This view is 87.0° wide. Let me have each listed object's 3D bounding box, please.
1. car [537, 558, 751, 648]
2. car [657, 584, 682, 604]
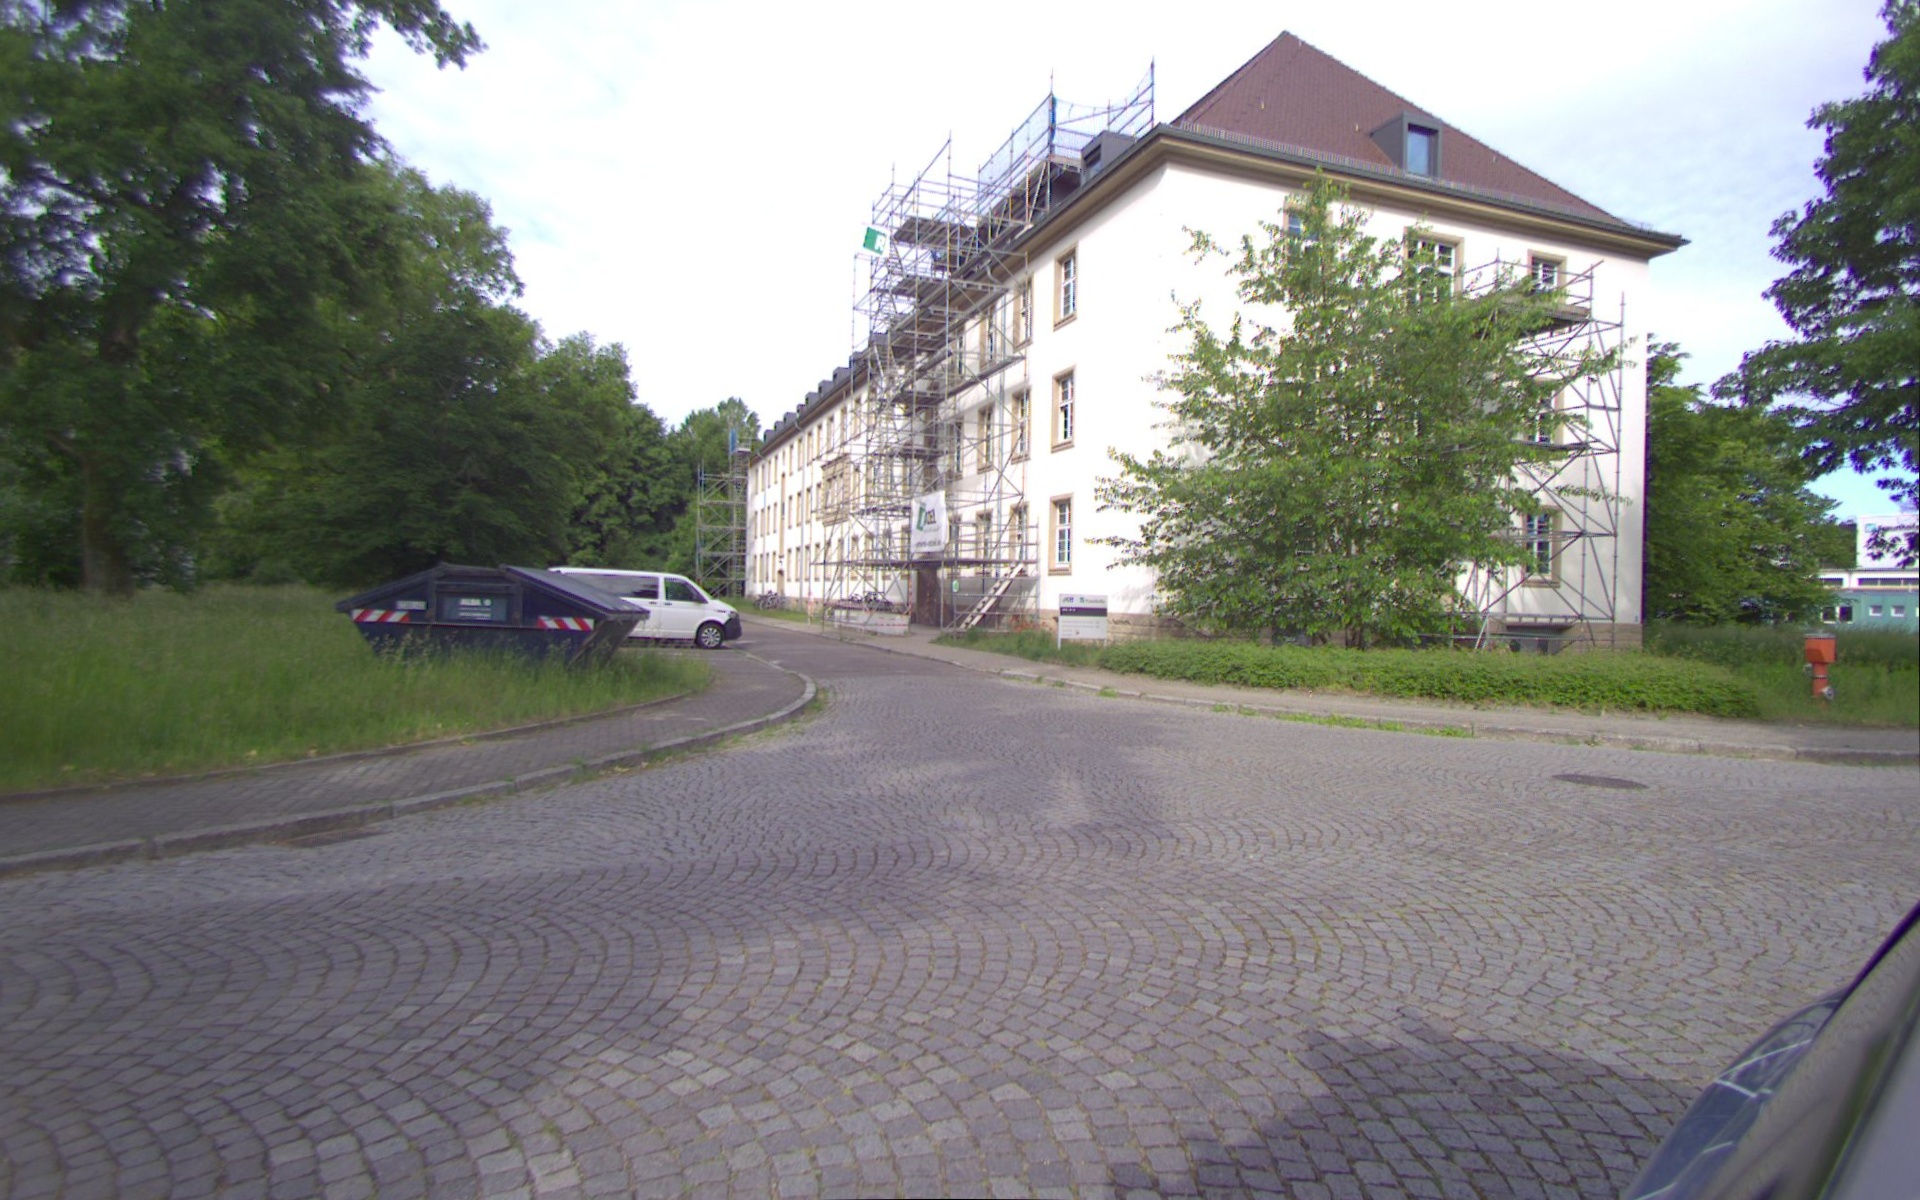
[{"bbox_3d":[-8.317,0.109,26.745,5.108,2.086,2.192,3,-1,-21],"label":"car"},{"bbox_3d":[-26.151,-0.531,90.992,2.026,1.614,4.008,4,-2,-17],"label":"car"}]
